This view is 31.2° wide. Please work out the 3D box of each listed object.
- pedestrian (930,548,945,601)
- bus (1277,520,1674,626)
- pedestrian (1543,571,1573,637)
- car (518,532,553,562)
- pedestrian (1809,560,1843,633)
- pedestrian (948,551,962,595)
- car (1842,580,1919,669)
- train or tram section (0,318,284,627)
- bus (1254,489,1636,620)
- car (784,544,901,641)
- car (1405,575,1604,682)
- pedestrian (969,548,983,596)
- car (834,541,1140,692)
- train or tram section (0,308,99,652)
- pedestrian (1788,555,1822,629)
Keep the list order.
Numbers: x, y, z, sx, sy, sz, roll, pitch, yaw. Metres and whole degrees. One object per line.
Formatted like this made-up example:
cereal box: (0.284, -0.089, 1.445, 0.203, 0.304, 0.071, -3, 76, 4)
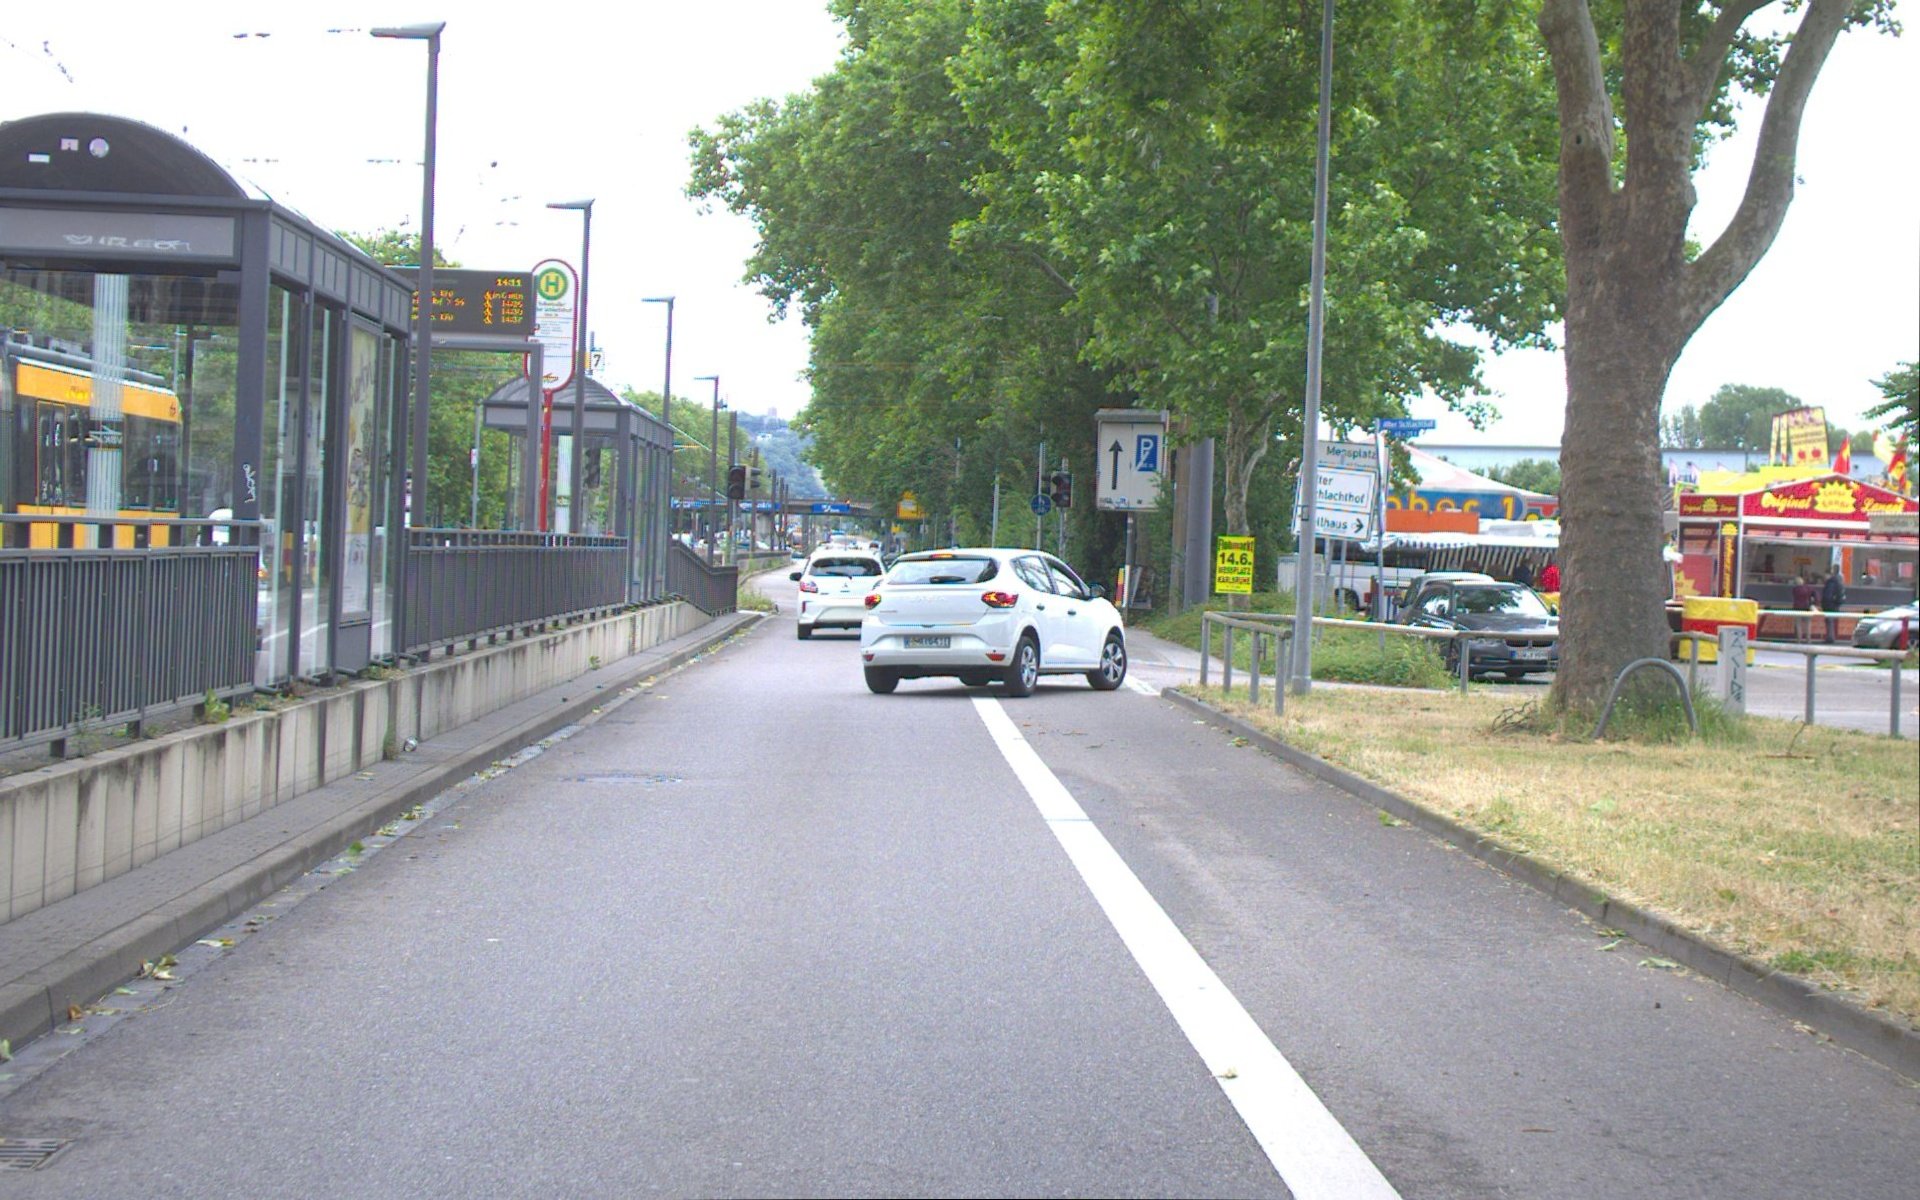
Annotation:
pedestrian: (-0.846, -0.972, 130.689, 0.396, 2.007, 0.402, 2, 0, 14)
bus: (12.542, -0.647, 83.879, 9.276, 2.220, 2.000, 2, 0, -4)
pedestrian: (13.500, 0.093, 77.615, 0.492, 1.458, 0.524, 2, 0, -4)
car: (-26.507, -3.305, 214.916, 1.993, 1.788, 4.001, 2, 0, -5)
pedestrian: (20.190, -0.076, 80.172, 0.522, 1.681, 0.494, 2, 0, -18)
pedestrian: (-0.161, -0.905, 113.975, 0.396, 1.439, 0.563, 2, 0, 4)
car: (18.731, 0.503, 62.930, 4.573, 1.570, 2.000, 2, 0, -3)
train or tram section: (-13.581, -1.830, 54.174, 3.180, 4.164, 14.735, 2, 0, -1)
bus: (12.246, -1.149, 87.075, 9.276, 2.949, 2.000, 2, 0, -4)
car: (-1.955, -0.152, 58.203, 1.841, 1.546, 4.000, 2, 1, 0)
car: (7.903, 0.384, 50.253, 1.862, 1.425, 4.001, 2, 0, -6)
pedestrian: (0.530, -0.924, 113.976, 0.396, 1.580, 0.538, 2, 0, 1)
car: (0.351, 0.171, 36.368, 1.887, 1.448, 3.995, 2, 0, 21)
train or tram section: (-13.214, -1.484, 39.476, 3.180, 4.164, 14.735, 2, 0, -1)
pedestrian: (19.602, -0.185, 79.745, 0.522, 1.681, 0.494, 2, 0, -18)
